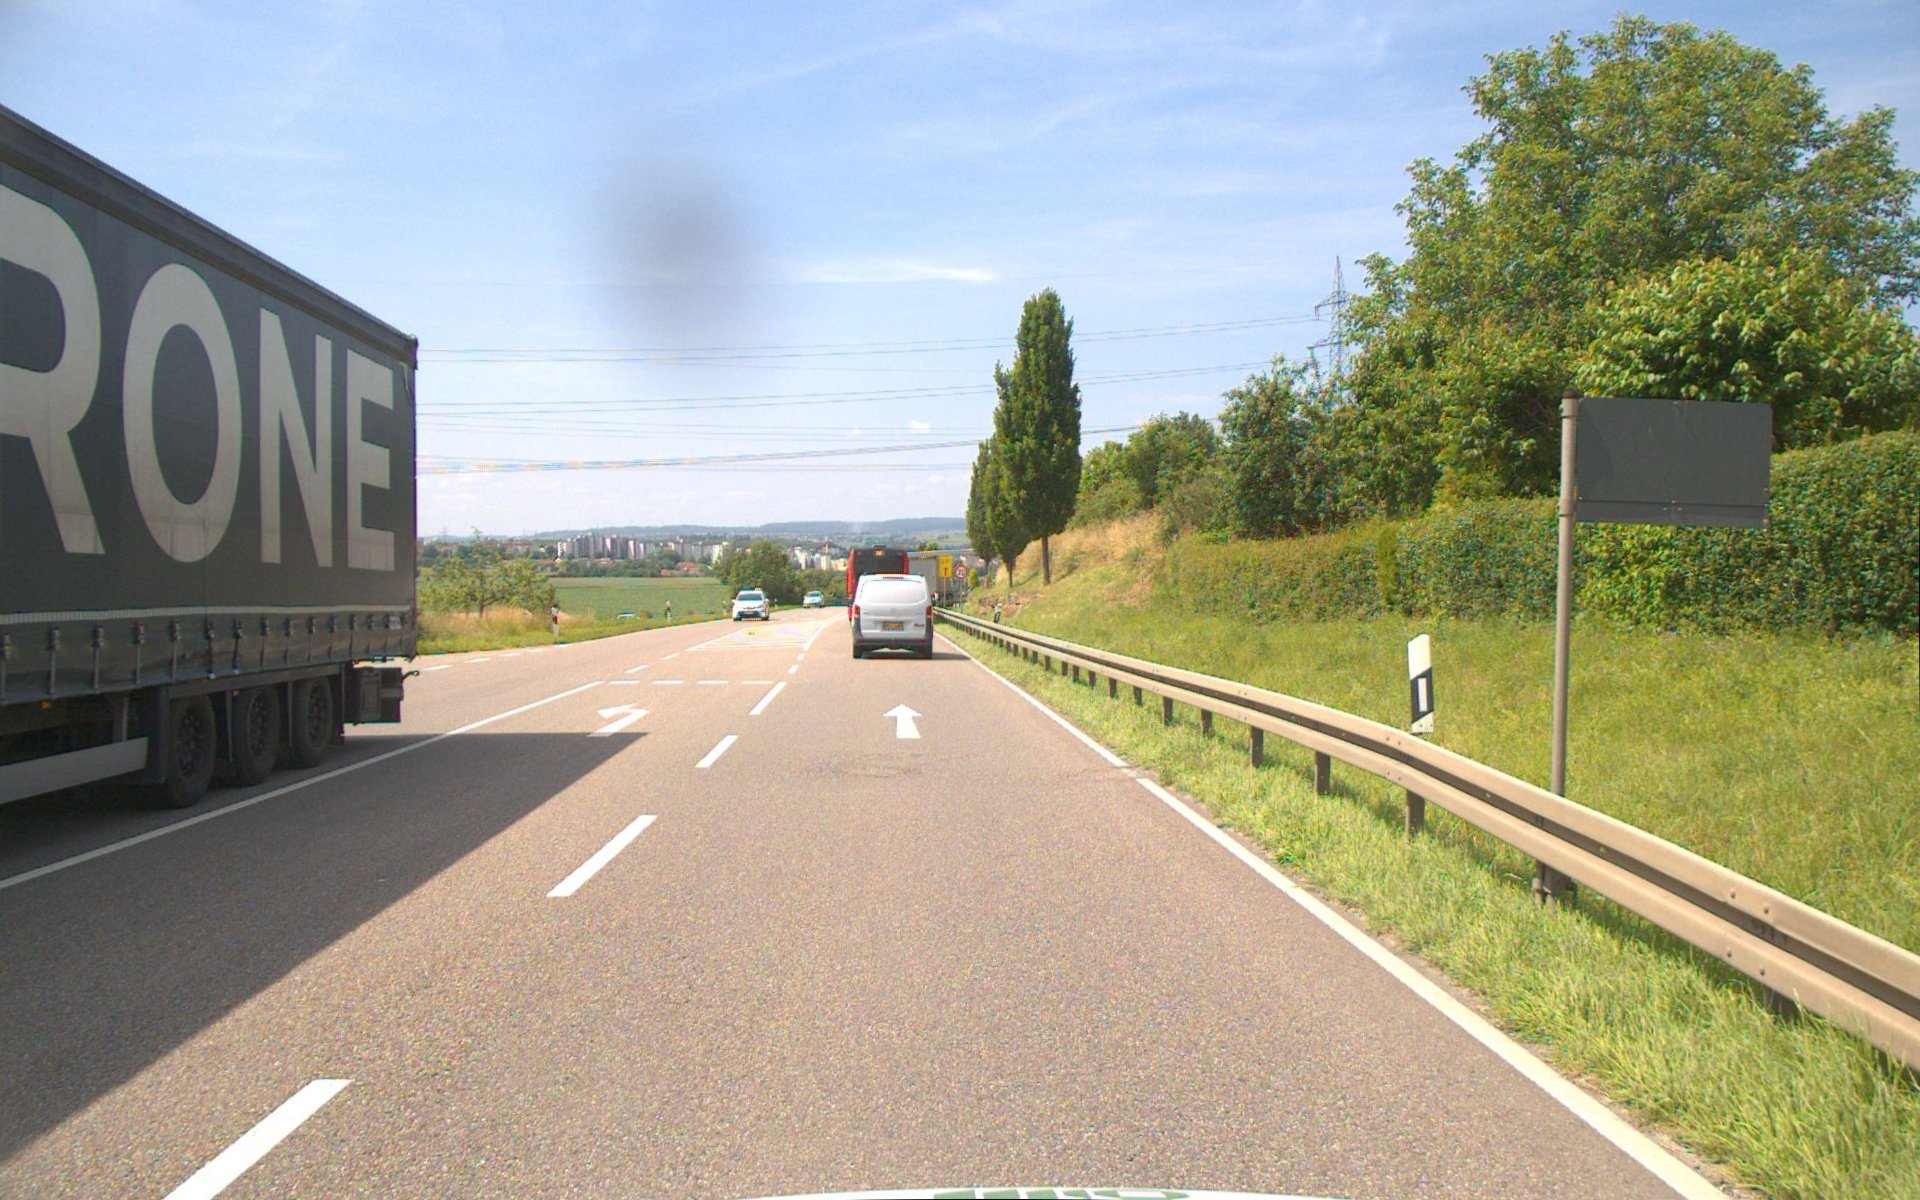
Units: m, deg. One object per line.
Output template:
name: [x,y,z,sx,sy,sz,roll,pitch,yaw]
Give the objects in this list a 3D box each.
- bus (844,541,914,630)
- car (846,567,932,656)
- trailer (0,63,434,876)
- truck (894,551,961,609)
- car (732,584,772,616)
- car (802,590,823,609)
bus: [-3.596,-0.819,73.223,2.692,3.411,13.216,-3,2,-3]
car: [-1.632,0.230,38.967,1.884,1.922,3.999,-2,1,-1]
trailer: [-6.360,-0.688,10.383,2.541,4.215,13.731,0,0,-4]
truck: [-2.568,-1.671,137.366,3.414,4.500,14.914,-1,0,7]
car: [-11.234,-0.023,89.574,1.817,1.593,4.072,-2,1,-3]
car: [-14.140,-0.082,159.070,1.730,1.716,3.825,-2,1,-2]
